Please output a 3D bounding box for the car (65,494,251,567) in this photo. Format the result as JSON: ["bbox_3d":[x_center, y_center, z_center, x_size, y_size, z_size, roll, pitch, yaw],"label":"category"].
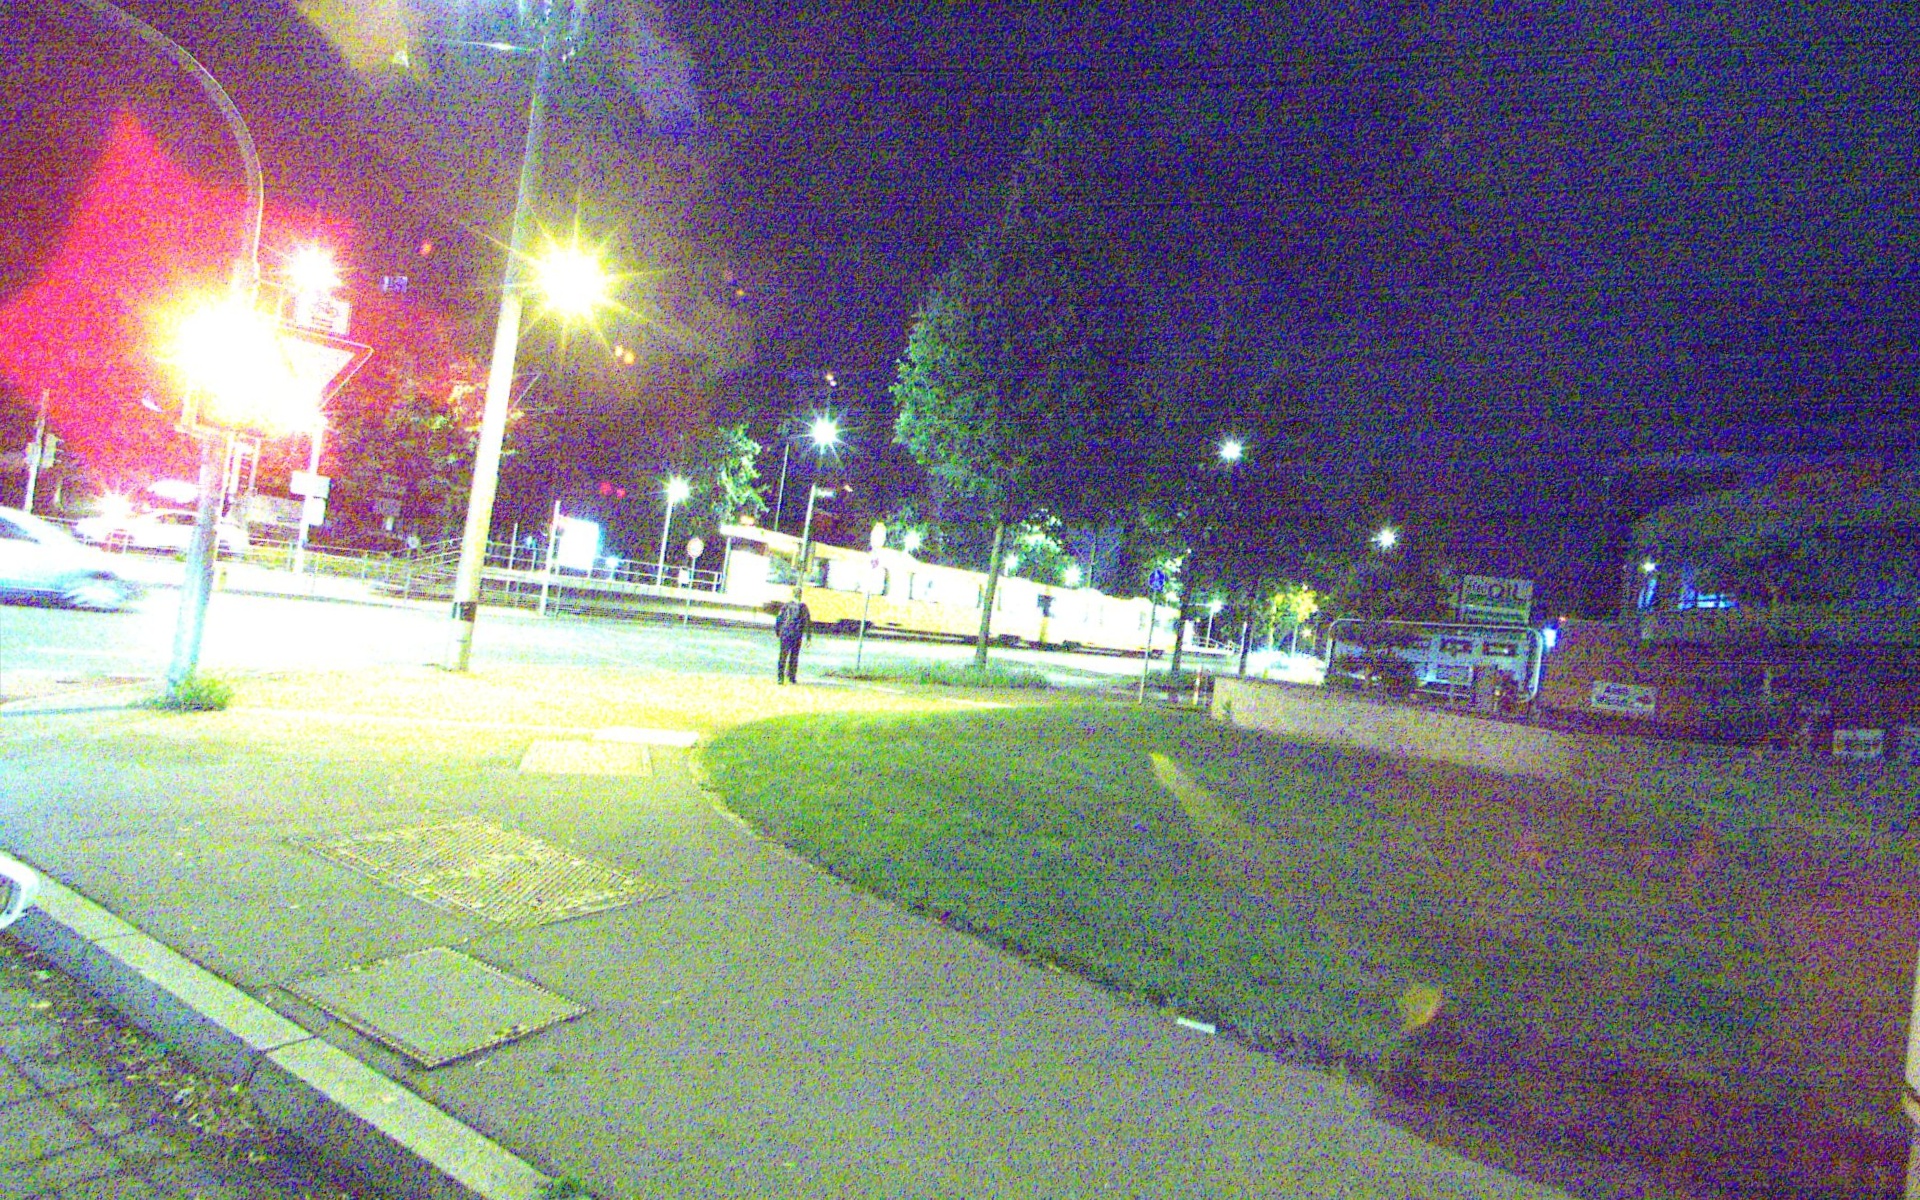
[{"bbox_3d":[-26.704,-2.271,33.644,1.911,1.662,4.404,5,-3,35],"label":"car"}]

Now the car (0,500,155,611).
[{"bbox_3d":[-14.226,-0.753,14.529,1.617,1.438,3.687,7,0,35],"label":"car"}]

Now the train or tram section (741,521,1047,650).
[{"bbox_3d":[-2.049,-0.248,46.757,2.918,3.896,18.427,8,0,35],"label":"train or tram section"}]

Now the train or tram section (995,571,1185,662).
[{"bbox_3d":[8.644,1.343,61.961,2.919,3.894,18.866,5,-2,35],"label":"train or tram section"}]

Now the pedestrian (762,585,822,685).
[{"bbox_3d":[-2.936,0.606,17.518,0.867,1.677,0.835,3,1,-18],"label":"pedestrian"}]
